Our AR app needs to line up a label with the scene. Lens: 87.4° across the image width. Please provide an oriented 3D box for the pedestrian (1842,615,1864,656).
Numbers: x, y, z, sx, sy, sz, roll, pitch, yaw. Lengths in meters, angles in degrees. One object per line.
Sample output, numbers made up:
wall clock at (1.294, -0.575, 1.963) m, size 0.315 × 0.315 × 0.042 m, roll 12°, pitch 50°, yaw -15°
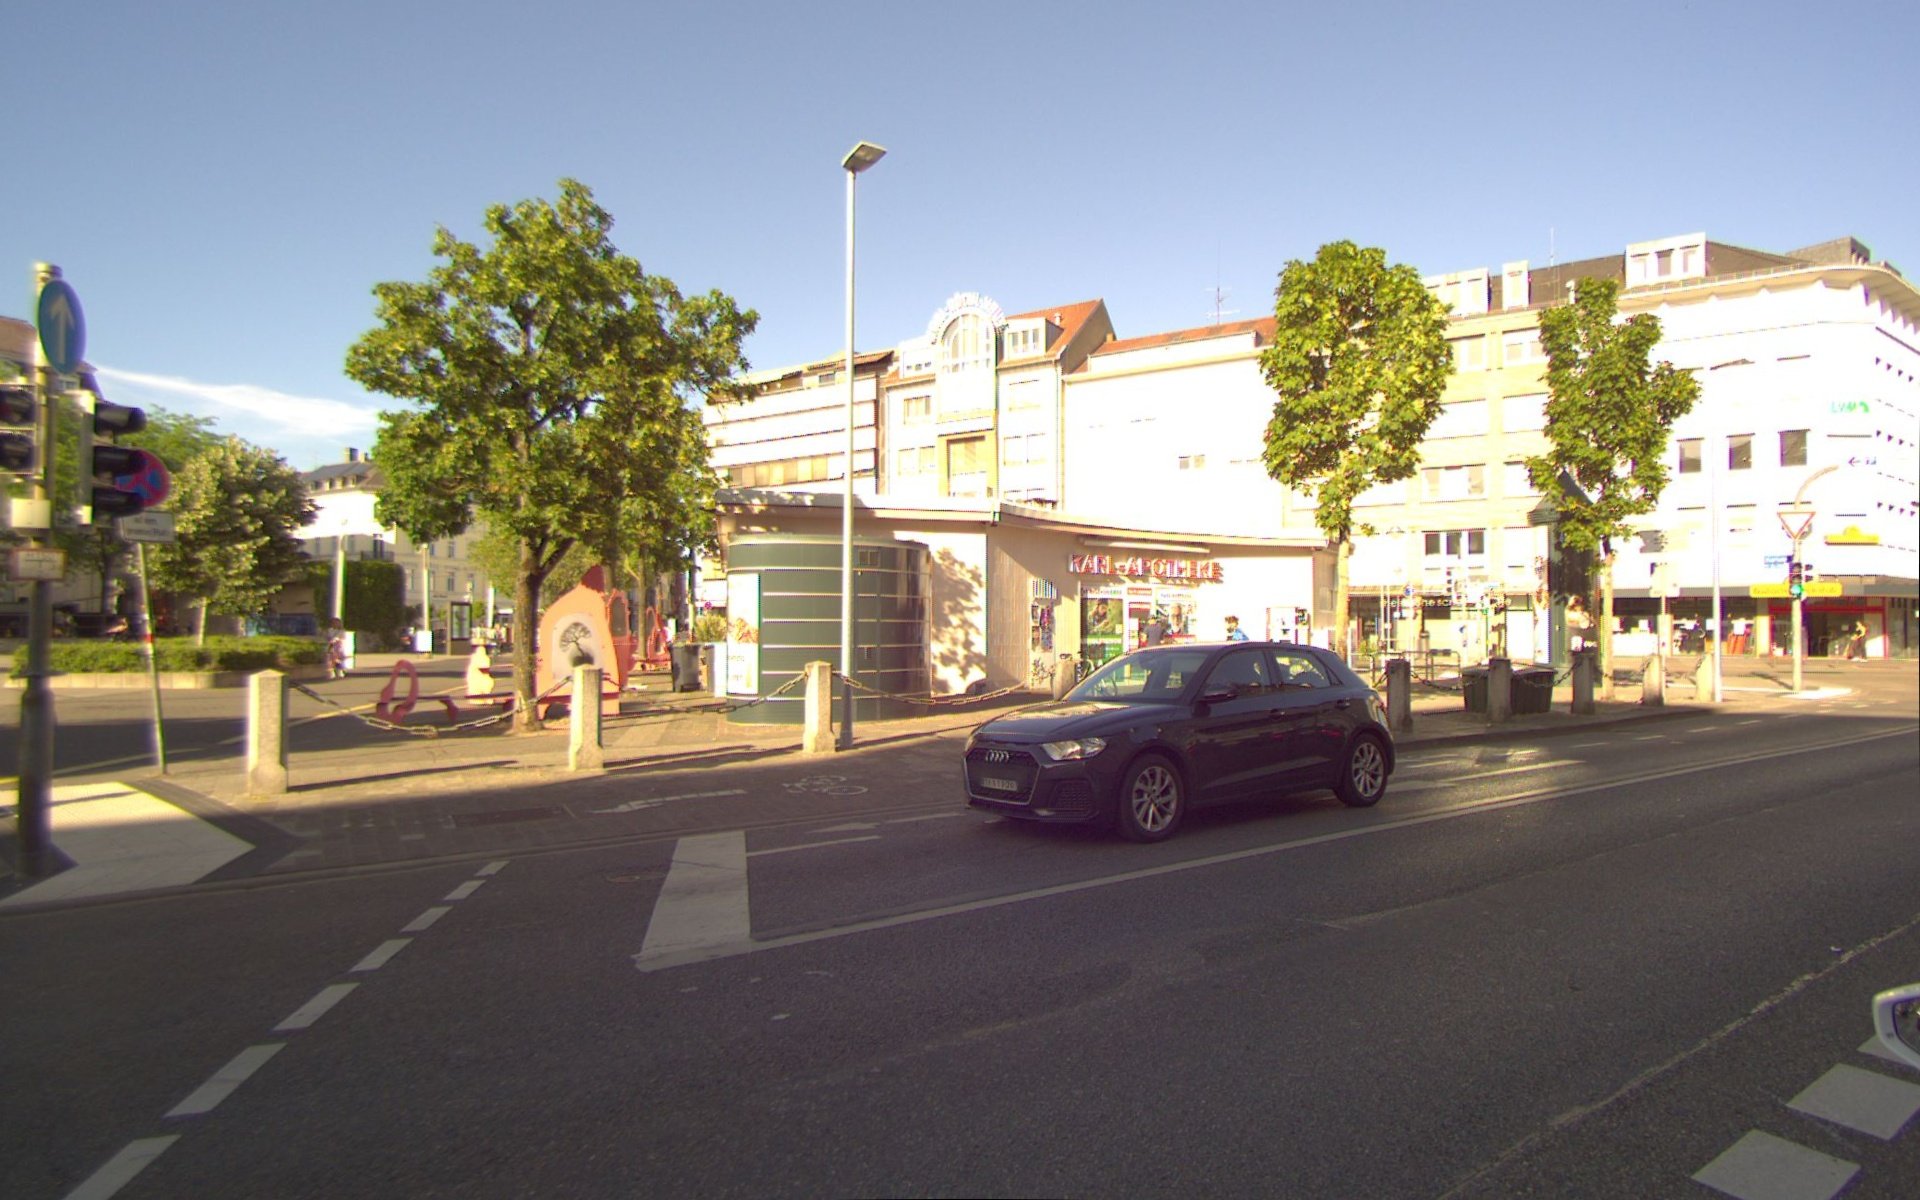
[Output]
pedestrian at (37.690, 1.507, 42.391) m, size 0.706 × 1.732 × 0.554 m, roll 1°, pitch -2°, yaw -37°

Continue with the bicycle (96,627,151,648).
bicycle at (-35.132, 1.567, 42.192) m, size 0.516 × 0.882 × 1.708 m, roll 0°, pitch -1°, yaw 33°

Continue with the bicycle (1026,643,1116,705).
bicycle at (1.974, 1.310, 18.154) m, size 0.755 × 1.015 × 1.879 m, roll 1°, pitch -1°, yaw -26°

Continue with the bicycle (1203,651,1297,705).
bicycle at (6.005, 1.586, 20.902) m, size 0.874 × 1.015 × 2.010 m, roll 1°, pitch -1°, yaw -20°

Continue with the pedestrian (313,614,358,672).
pedestrian at (-17.683, 1.196, 28.464) m, size 0.860 × 1.617 × 1.071 m, roll 0°, pitch -1°, yaw -21°

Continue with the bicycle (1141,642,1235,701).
bicycle at (4.327, 1.345, 19.205) m, size 0.755 × 1.015 × 1.879 m, roll 1°, pitch -1°, yaw -26°

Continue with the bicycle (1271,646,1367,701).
bicycle at (7.891, 1.592, 22.167) m, size 0.745 × 1.102 × 1.977 m, roll 1°, pitch -1°, yaw -32°

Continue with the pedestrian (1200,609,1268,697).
pedestrian at (5.539, 1.050, 20.334) m, size 0.889 × 1.720 × 1.081 m, roll 0°, pitch -1°, yaw -20°

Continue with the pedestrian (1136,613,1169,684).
pedestrian at (4.798, 1.199, 25.008) m, size 0.605 × 1.732 × 0.516 m, roll 1°, pitch -2°, yaw -35°

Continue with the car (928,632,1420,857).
car at (1.859, 1.014, 8.240) m, size 4.002 × 1.415 × 1.640 m, roll 1°, pitch -4°, yaw -35°

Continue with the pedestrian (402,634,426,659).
pedestrian at (-32.139, 2.741, 59.138) m, size 0.766 × 1.484 × 0.945 m, roll -1°, pitch -2°, yaw 33°

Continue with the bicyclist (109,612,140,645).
bicyclist at (-35.092, 1.208, 42.204) m, size 0.427 × 1.363 × 0.911 m, roll 0°, pitch -1°, yaw 33°
